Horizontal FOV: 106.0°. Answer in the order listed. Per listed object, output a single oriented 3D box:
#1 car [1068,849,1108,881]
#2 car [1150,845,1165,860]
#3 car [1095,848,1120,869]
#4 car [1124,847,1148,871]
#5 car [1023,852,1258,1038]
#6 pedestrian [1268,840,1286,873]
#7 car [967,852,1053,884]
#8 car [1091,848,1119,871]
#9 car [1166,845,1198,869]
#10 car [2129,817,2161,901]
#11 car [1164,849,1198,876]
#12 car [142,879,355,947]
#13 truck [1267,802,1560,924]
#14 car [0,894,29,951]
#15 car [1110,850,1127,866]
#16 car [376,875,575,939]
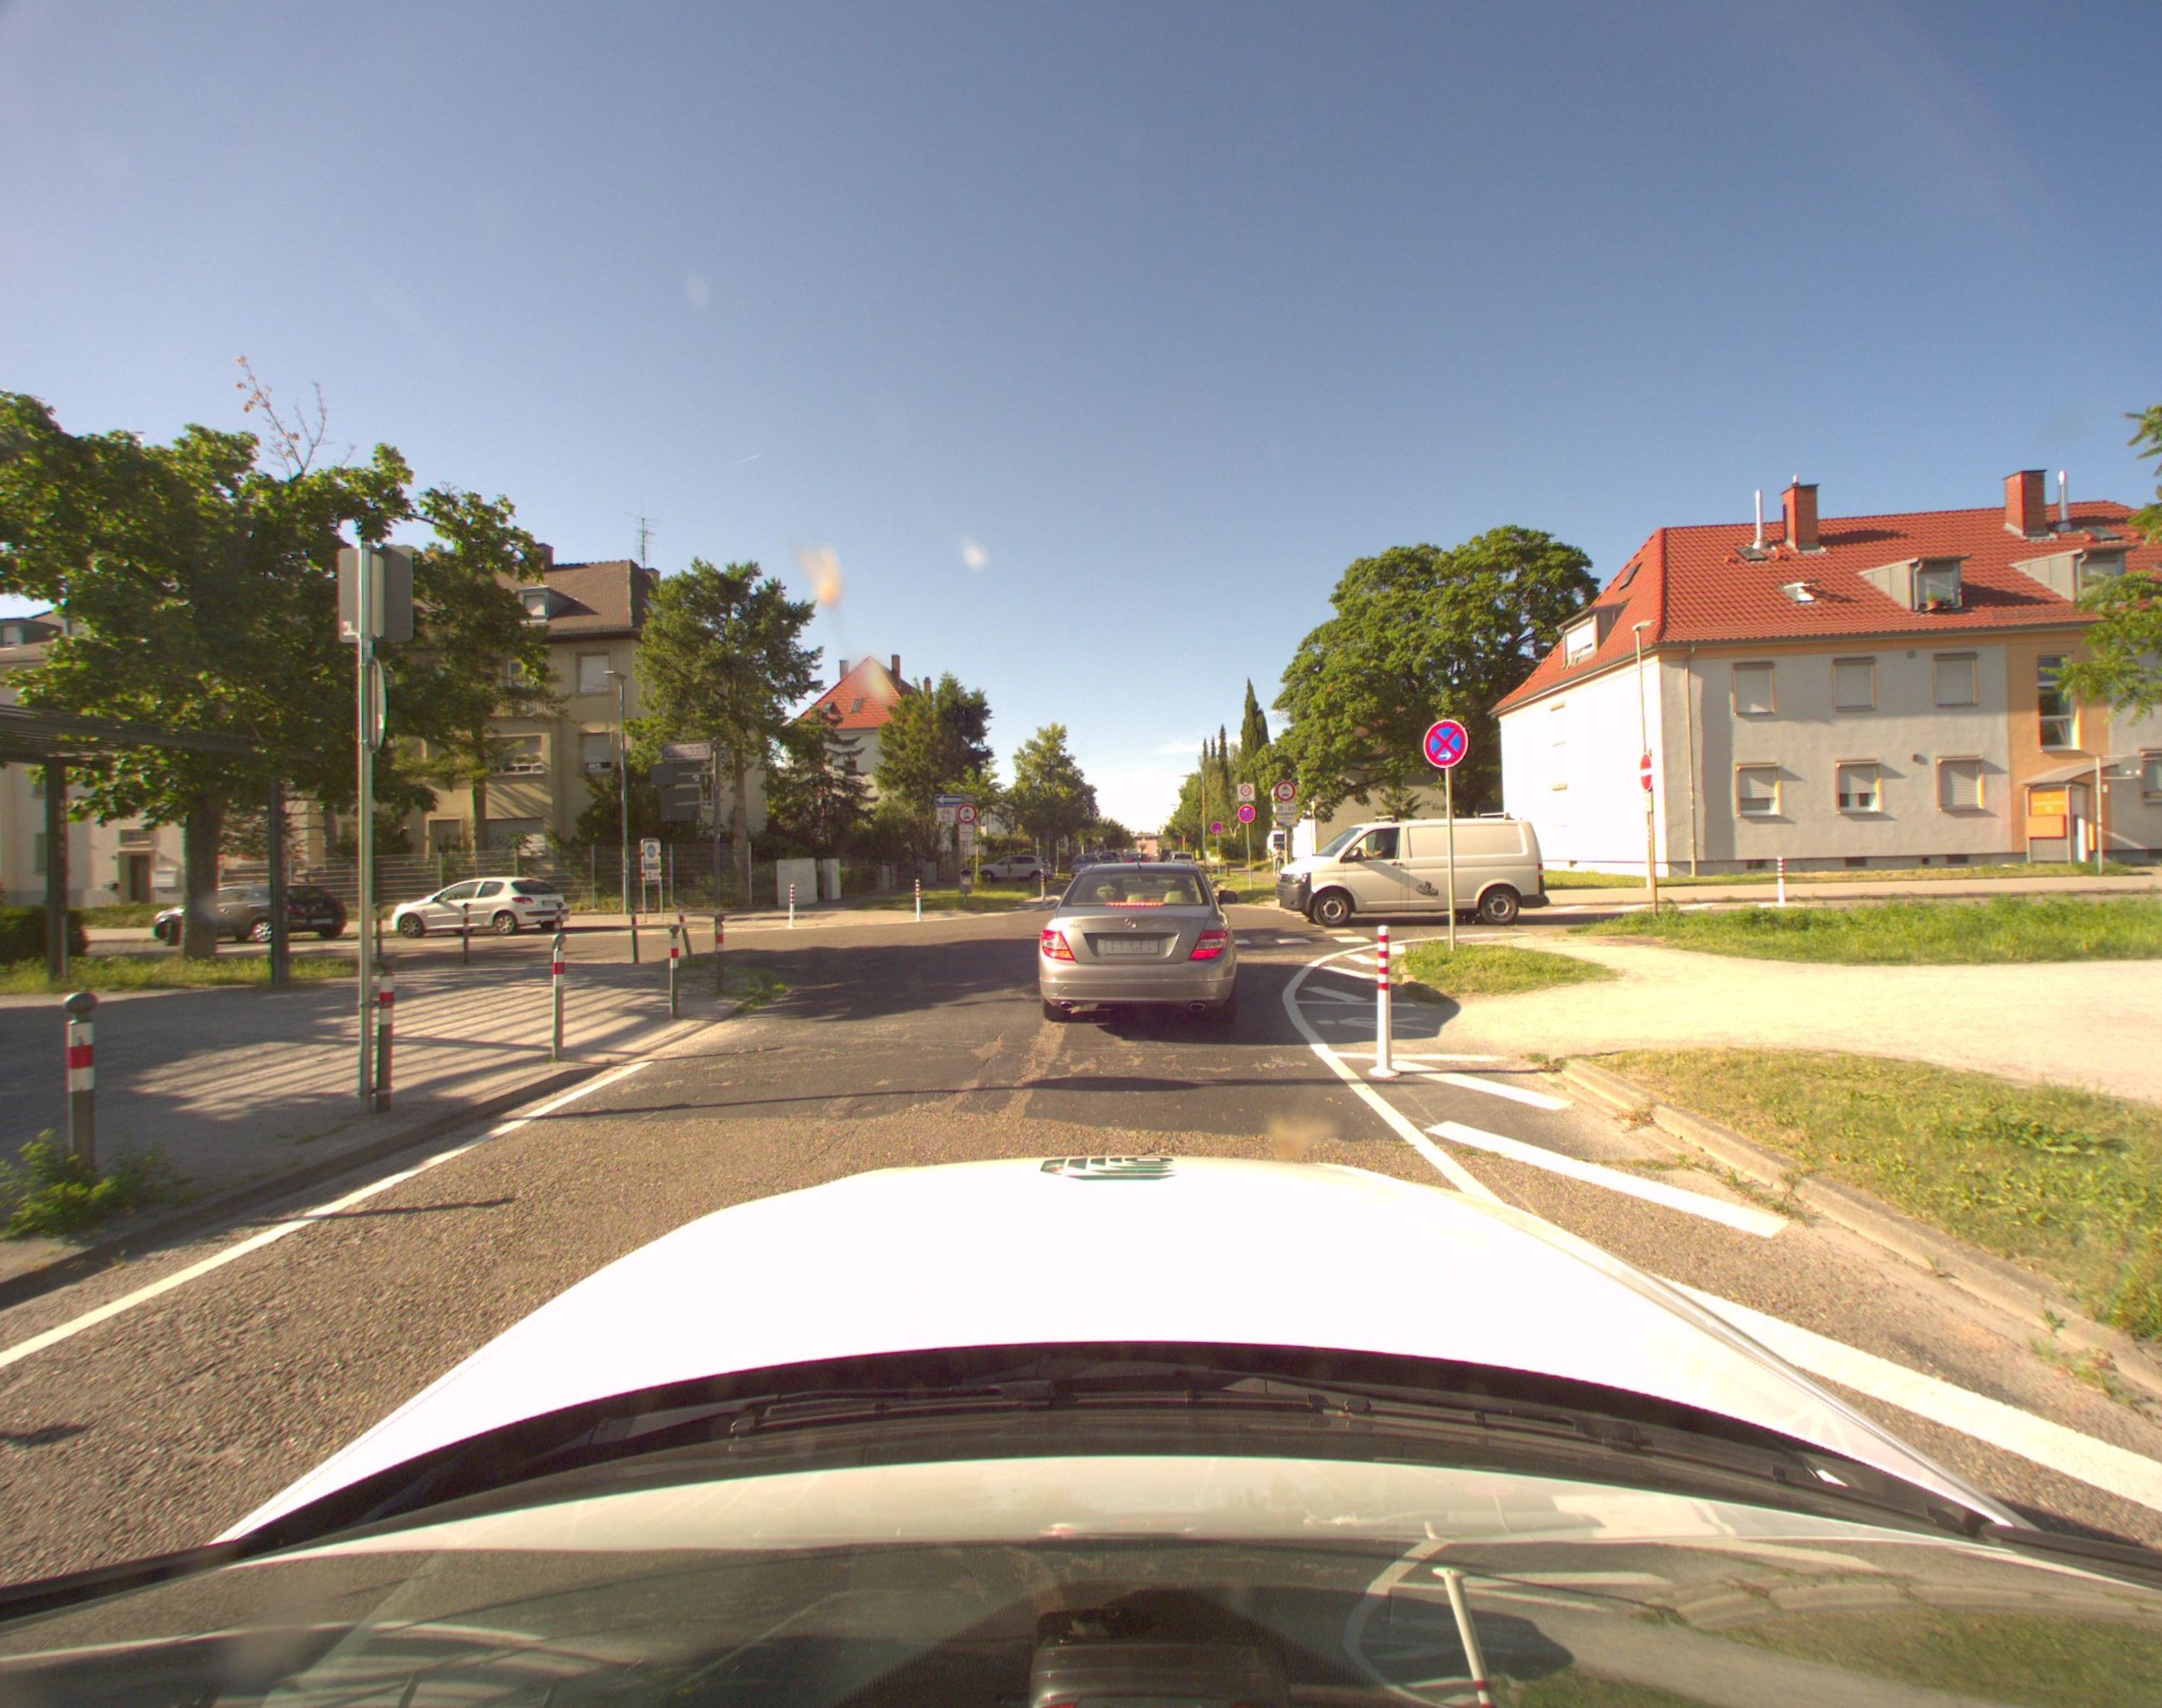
[{"bbox_3d":[0.446,0.591,46.892,1.986,1.609,4.003,-5,0,3],"label":"car"},{"bbox_3d":[9.813,-0.192,104.526,1.846,1.841,4.005,-2,0,4],"label":"car"},{"bbox_3d":[2.330,0.345,70.451,1.986,1.609,4.003,-5,0,3],"label":"car"},{"bbox_3d":[3.925,0.311,58.214,1.590,1.609,3.646,-2,0,3],"label":"car"},{"bbox_3d":[0.666,0.724,8.417,1.827,1.441,4.007,-1,0,6],"label":"car"},{"bbox_3d":[9.772,0.141,40.676,0.761,1.611,0.836,-2,0,9],"label":"pedestrian"},{"bbox_3d":[-3.622,0.695,42.000,4.176,1.564,1.843,-1,0,1],"label":"car"},{"bbox_3d":[1.911,0.440,64.665,1.986,1.609,4.003,-5,0,3],"label":"car"},{"bbox_3d":[7.321,0.220,59.563,1.985,1.609,4.003,-2,0,3],"label":"car"},{"bbox_3d":[22.060,0.016,14.214,4.719,1.524,2.002,-2,0,3],"label":"car"},{"bbox_3d":[5.936,0.463,48.829,1.726,1.479,3.728,-2,0,3],"label":"car"},{"bbox_3d":[-20.989,1.471,20.620,3.796,1.494,1.679,-2,-1,5],"label":"car"},{"bbox_3d":[6.215,0.169,15.742,4.836,2.036,2.003,-2,0,4],"label":"truck"},{"bbox_3d":[-30.938,1.919,21.609,3.968,1.494,1.803,-2,-1,4],"label":"car"},{"bbox_3d":[4.140,0.453,89.807,1.727,1.609,3.938,-5,0,3],"label":"car"},{"bbox_3d":[-15.074,1.296,20.403,3.747,1.398,1.709,-2,-1,4],"label":"car"}]
